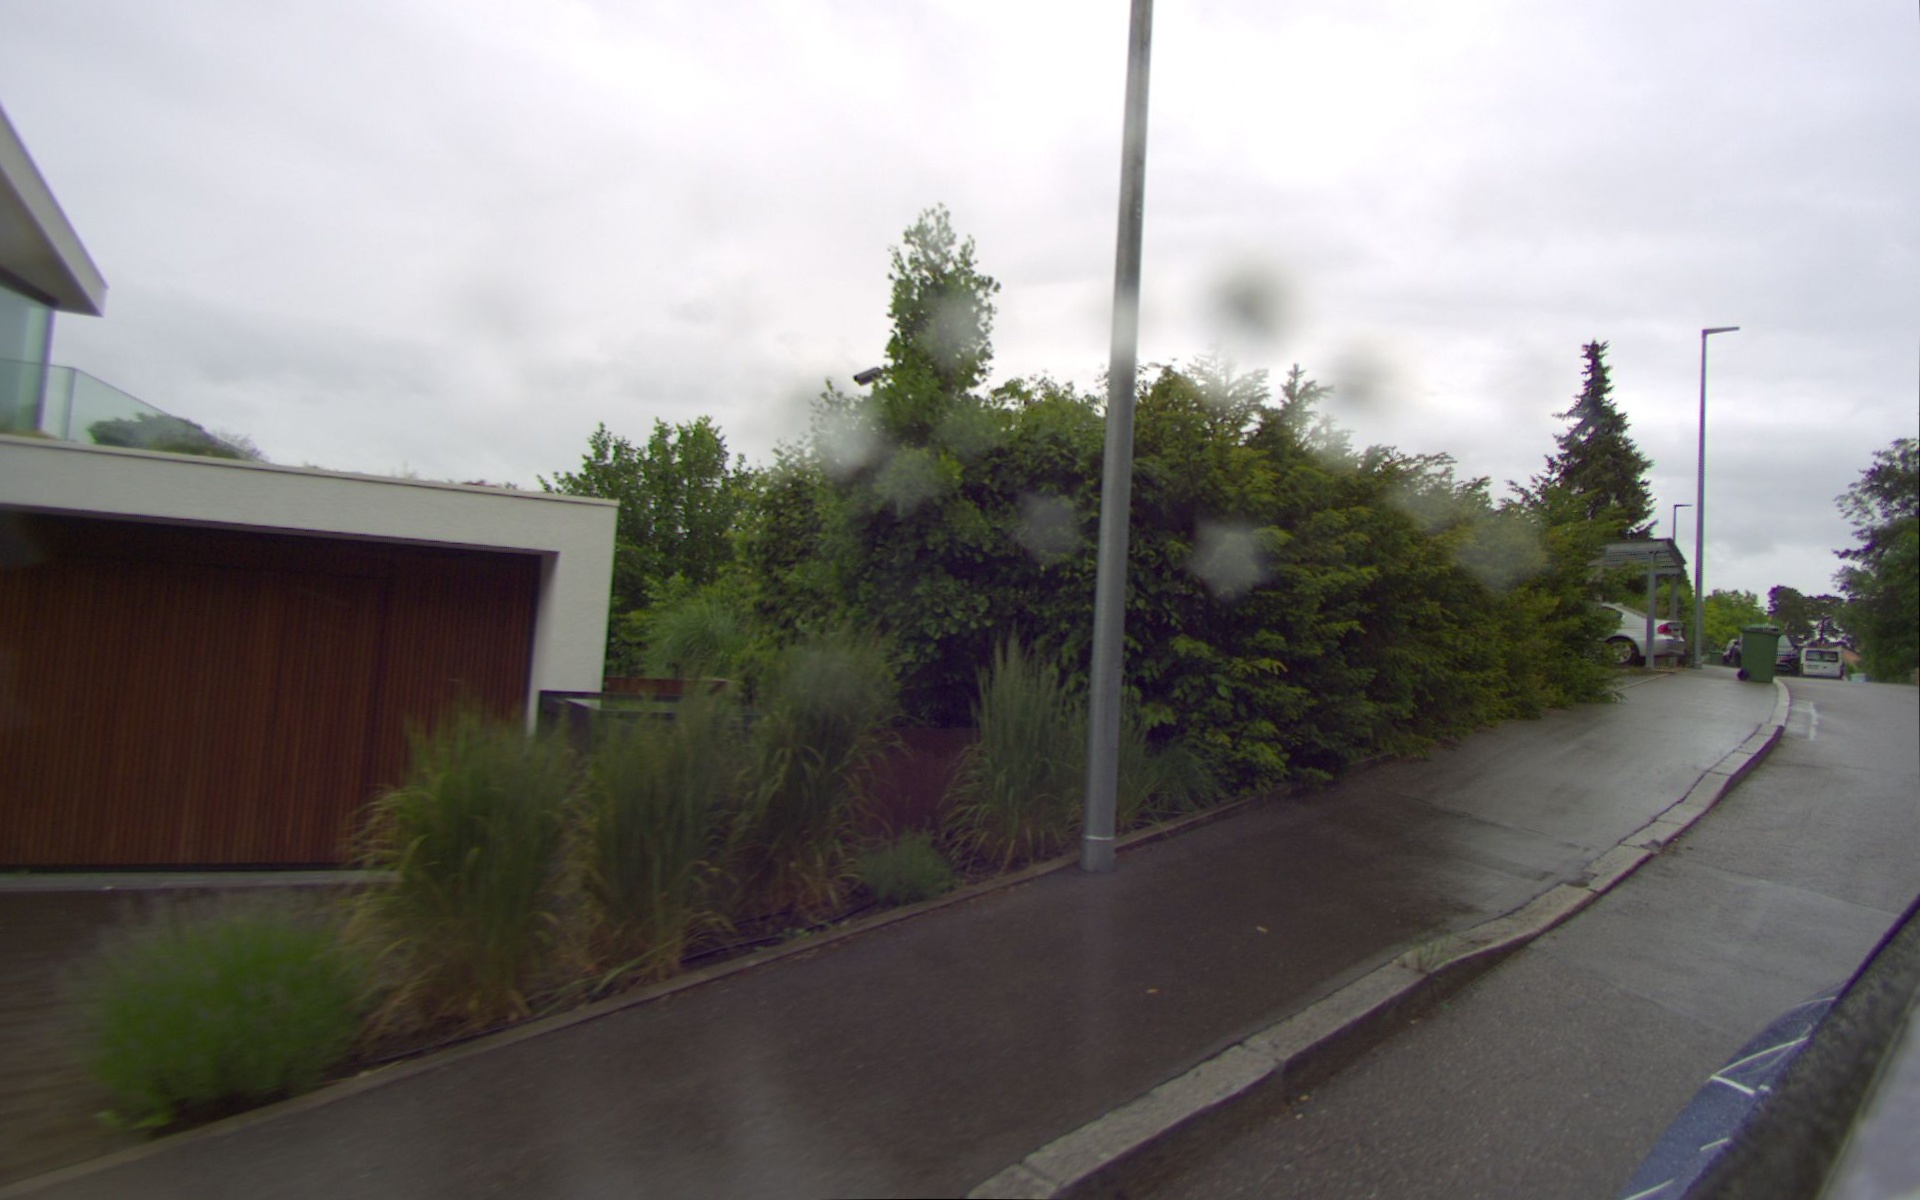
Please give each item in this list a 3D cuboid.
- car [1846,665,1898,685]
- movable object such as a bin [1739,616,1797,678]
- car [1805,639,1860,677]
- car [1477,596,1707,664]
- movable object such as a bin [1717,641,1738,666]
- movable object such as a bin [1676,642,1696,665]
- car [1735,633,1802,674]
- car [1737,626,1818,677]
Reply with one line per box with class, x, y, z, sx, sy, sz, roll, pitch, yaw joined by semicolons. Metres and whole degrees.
car;79.996;6.574;88.777;4.127;1.488;1.804;4;-3;-23
movable object such as a bin;15.751;0.912;19.754;0.788;1.109;0.666;6;2;38
car;51.441;3.431;59.750;2.107;2.000;5.100;2;-3;38
car;14.658;0.656;23.653;1.908;1.433;4.222;2;-1;-42
movable object such as a bin;35.284;2.468;46.540;0.726;1.092;0.653;1;-3;33
movable object such as a bin;37.230;2.739;51.888;0.737;1.102;0.591;4;-2;38
car;32.320;2.174;40.552;1.750;1.481;4.246;1;-3;34
car;29.367;1.886;36.475;1.869;1.612;4.422;2;-3;34
